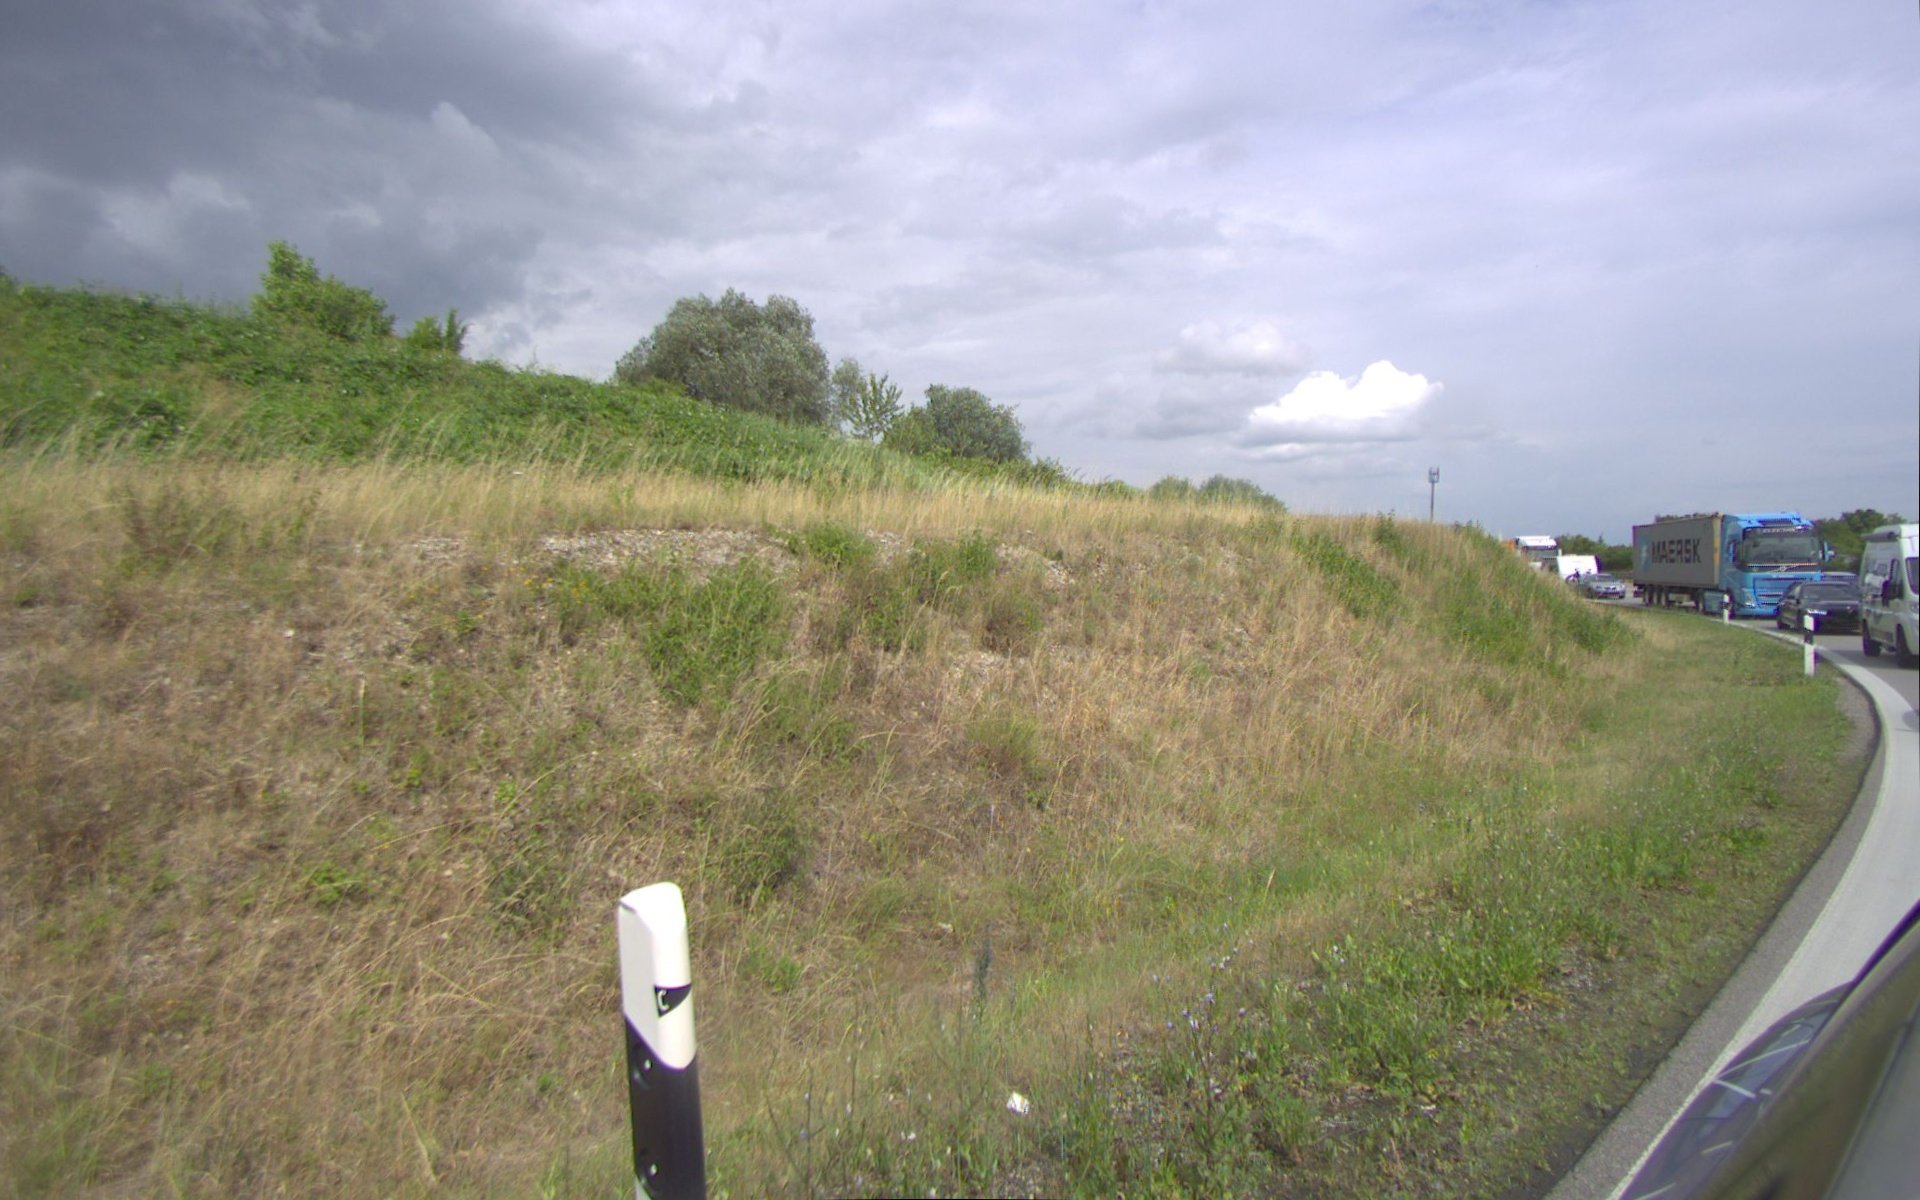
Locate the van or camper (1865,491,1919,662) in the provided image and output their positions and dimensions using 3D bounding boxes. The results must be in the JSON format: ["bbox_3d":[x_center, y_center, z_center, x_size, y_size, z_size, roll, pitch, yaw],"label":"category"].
[{"bbox_3d":[19.112,-0.448,19.079,2.384,2.945,5.648,0,1,35],"label":"van or camper"}]

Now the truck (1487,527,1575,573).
[{"bbox_3d":[44.019,-3.786,78.464,3.080,3.279,11.114,0,2,14],"label":"truck"}]

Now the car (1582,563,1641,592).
[{"bbox_3d":[37.842,-1.322,58.887,1.974,1.548,3.977,0,2,19],"label":"car"}]

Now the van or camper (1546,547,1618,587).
[{"bbox_3d":[39.621,-2.171,64.636,2.519,2.237,5.684,-1,4,17],"label":"van or camper"}]

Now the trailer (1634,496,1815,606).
[{"bbox_3d":[33.456,-1.956,45.021,3.237,4.213,11.933,0,1,21],"label":"trailer"}]

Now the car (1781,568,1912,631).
[{"bbox_3d":[25.276,-0.082,29.019,1.983,1.638,3.960,1,2,29],"label":"car"}]

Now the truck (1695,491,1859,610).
[{"bbox_3d":[31.102,-1.772,38.875,3.144,4.124,6.596,0,1,23],"label":"truck"}]
